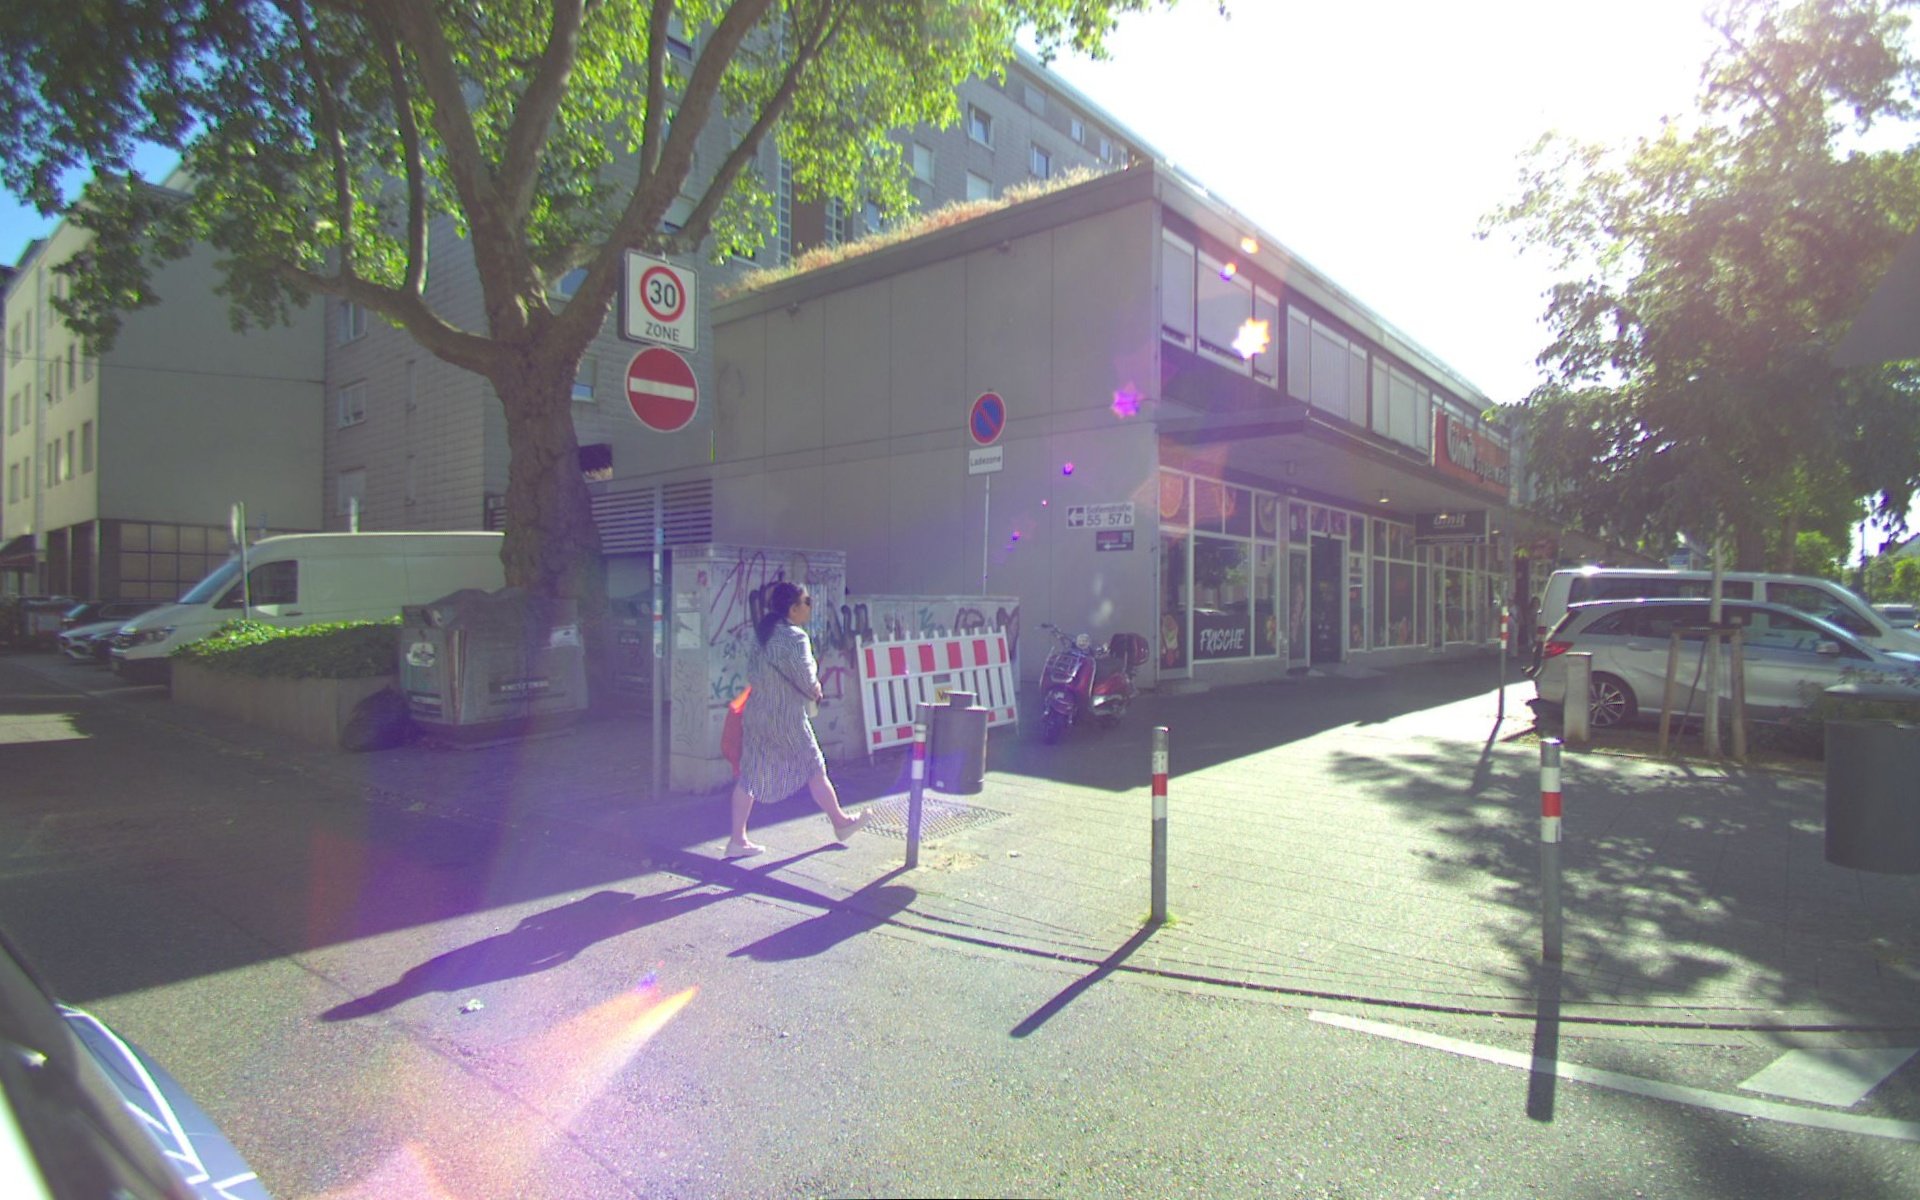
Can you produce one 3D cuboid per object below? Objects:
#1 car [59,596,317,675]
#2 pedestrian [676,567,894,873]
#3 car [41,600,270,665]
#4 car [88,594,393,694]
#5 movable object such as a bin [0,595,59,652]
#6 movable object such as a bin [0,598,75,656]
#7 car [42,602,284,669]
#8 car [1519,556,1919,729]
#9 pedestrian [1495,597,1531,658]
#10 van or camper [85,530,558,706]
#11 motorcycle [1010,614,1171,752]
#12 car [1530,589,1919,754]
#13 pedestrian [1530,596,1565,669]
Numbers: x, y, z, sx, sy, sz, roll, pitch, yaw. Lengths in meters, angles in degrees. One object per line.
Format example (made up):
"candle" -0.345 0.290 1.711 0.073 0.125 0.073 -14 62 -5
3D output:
"car" -17.325 0.742 22.938 1.694 1.629 4.367 0 -1 34
"pedestrian" -1.002 0.625 5.868 0.844 1.585 0.837 -1 2 35
"car" -20.728 0.787 26.278 1.694 1.545 4.367 -1 -1 34
"car" -13.344 0.716 19.004 1.697 1.545 4.361 0 1 39
"movable object such as a bin" -25.730 0.619 27.804 1.515 1.512 1.207 0 -1 38
"movable object such as a bin" -24.598 0.702 26.972 1.193 1.512 1.312 0 -1 38
"car" -19.178 0.798 24.564 1.595 1.474 4.367 -1 -1 34
"car" 10.411 0.468 13.664 4.740 2.021 1.934 2 0 39
"pedestrian" 14.375 0.702 26.295 0.689 1.533 0.524 1 0 42
"van or camper" -11.028 0.117 18.201 1.999 2.593 6.835 -1 2 41
"motorcycle" 1.349 0.770 10.151 0.669 1.189 1.896 0 1 40
"car" 9.026 0.720 11.425 4.300 1.625 1.735 0 -1 40
"pedestrian" 13.832 0.762 23.829 0.566 1.678 0.702 1 0 42
